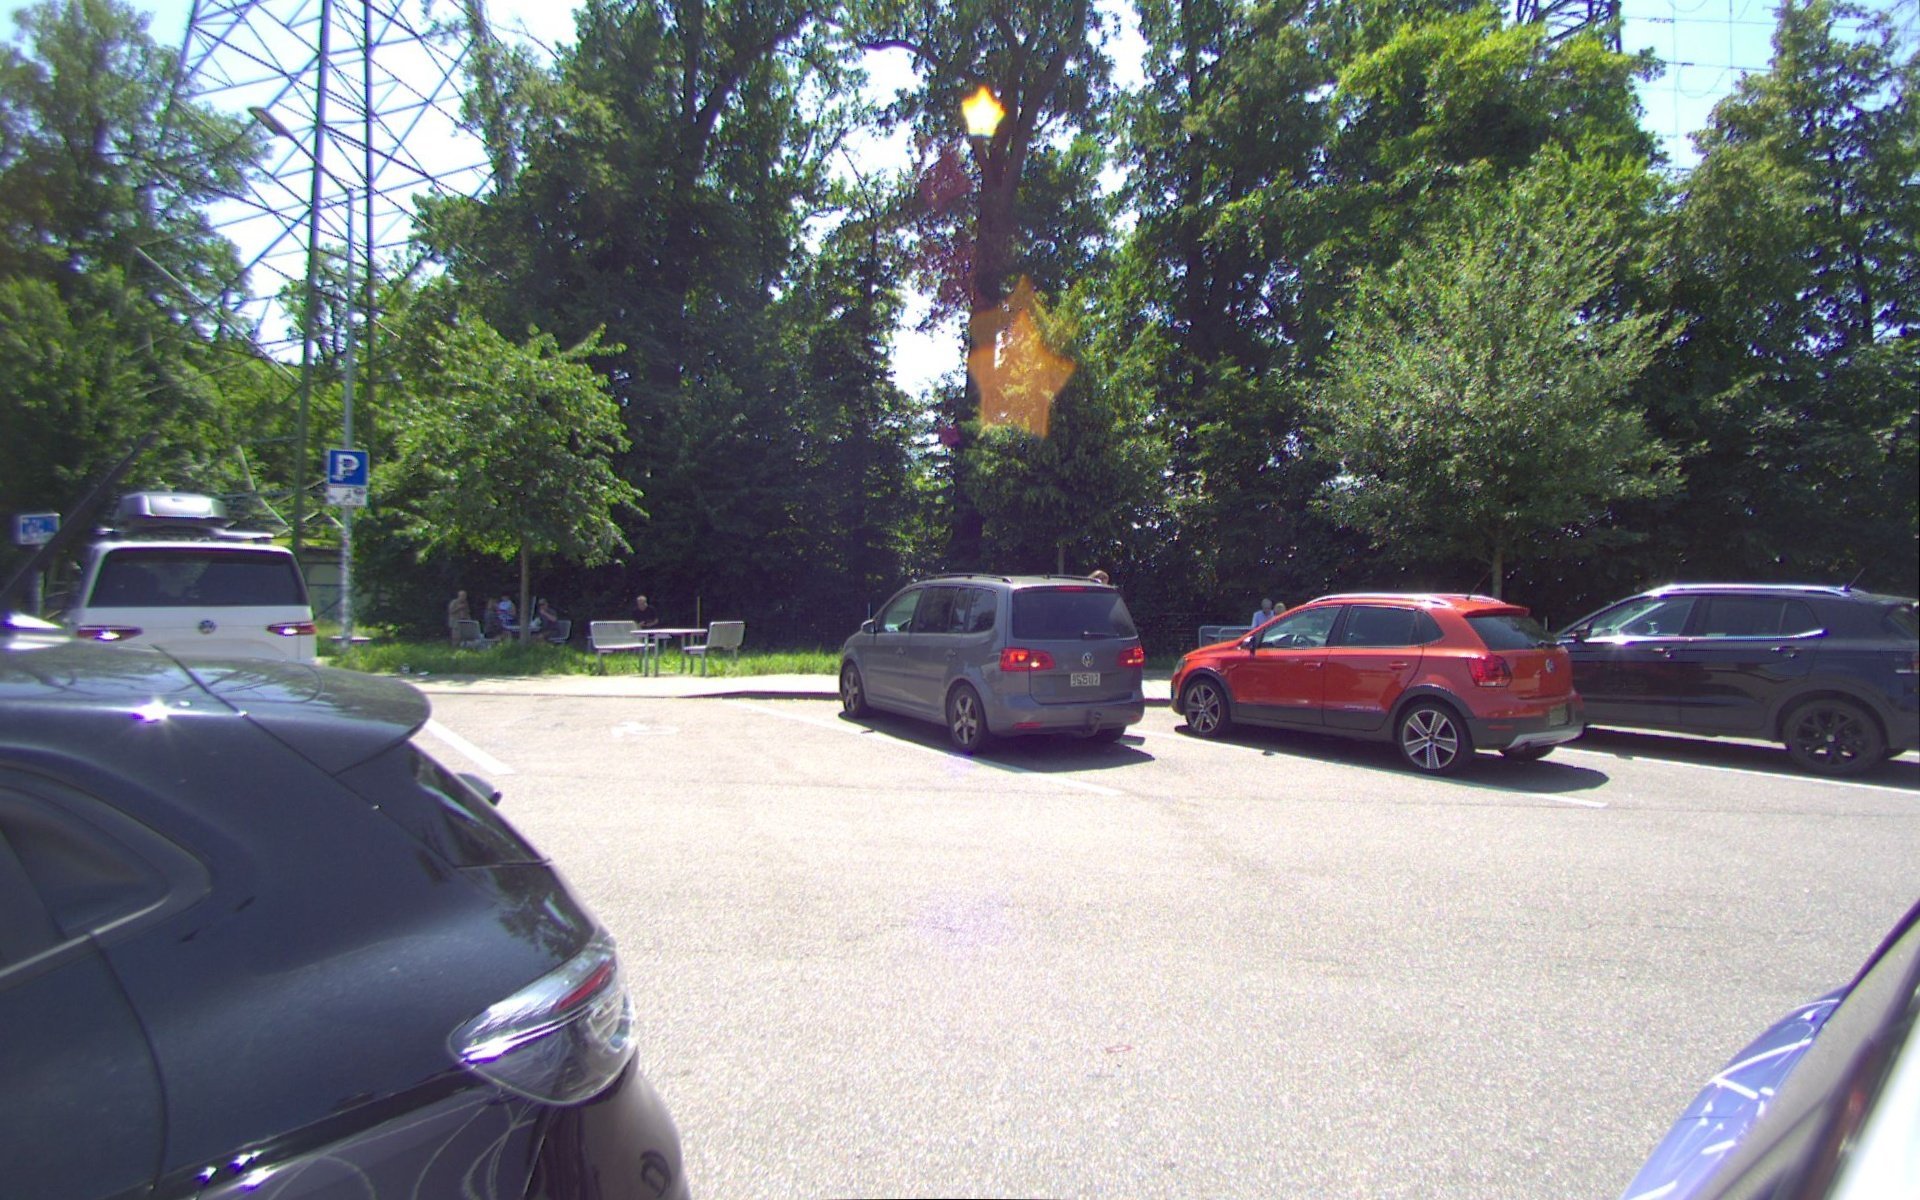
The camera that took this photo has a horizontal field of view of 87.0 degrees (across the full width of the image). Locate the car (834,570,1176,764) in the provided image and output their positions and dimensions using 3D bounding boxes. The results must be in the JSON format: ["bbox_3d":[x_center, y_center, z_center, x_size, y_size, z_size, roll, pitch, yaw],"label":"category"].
[{"bbox_3d":[0.240,0.519,10.518,1.713,1.601,3.996,0,1,-29],"label":"car"}]

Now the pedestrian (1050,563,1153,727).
[{"bbox_3d":[1.561,0.463,11.101,0.731,1.703,0.905,0,0,43],"label":"pedestrian"}]

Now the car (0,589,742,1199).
[{"bbox_3d":[-2.216,0.720,0.599,1.737,1.501,3.757,0,-1,44],"label":"car"}]

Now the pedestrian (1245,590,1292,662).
[{"bbox_3d":[5.773,0.478,18.968,0.657,1.311,0.783,0,0,3],"label":"pedestrian"}]

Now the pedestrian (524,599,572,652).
[{"bbox_3d":[-9.614,0.583,23.625,0.873,1.192,0.668,0,0,-41],"label":"pedestrian"}]

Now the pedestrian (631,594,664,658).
[{"bbox_3d":[-6.562,0.527,21.280,0.655,1.311,0.786,0,0,-16],"label":"pedestrian"}]

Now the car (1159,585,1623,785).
[{"bbox_3d":[3.841,0.610,9.648,1.687,1.484,3.793,0,1,-32],"label":"car"}]

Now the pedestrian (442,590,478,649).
[{"bbox_3d":[-12.248,0.472,24.788,0.657,1.422,0.649,0,0,-39],"label":"pedestrian"}]

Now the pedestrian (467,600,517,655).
[{"bbox_3d":[-10.530,0.596,22.771,0.873,1.192,0.668,0,0,-41],"label":"pedestrian"}]

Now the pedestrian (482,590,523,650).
[{"bbox_3d":[-11.066,0.469,24.481,0.664,1.422,0.643,0,0,32],"label":"pedestrian"}]

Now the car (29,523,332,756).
[{"bbox_3d":[-8.369,0.289,10.692,4.549,1.936,1.882,1,1,44],"label":"car"}]

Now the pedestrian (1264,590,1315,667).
[{"bbox_3d":[5.768,0.489,17.766,0.657,1.311,0.783,0,0,3],"label":"pedestrian"}]

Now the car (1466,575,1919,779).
[{"bbox_3d":[7.167,0.574,9.708,1.690,1.593,3.787,0,1,-39],"label":"car"}]
